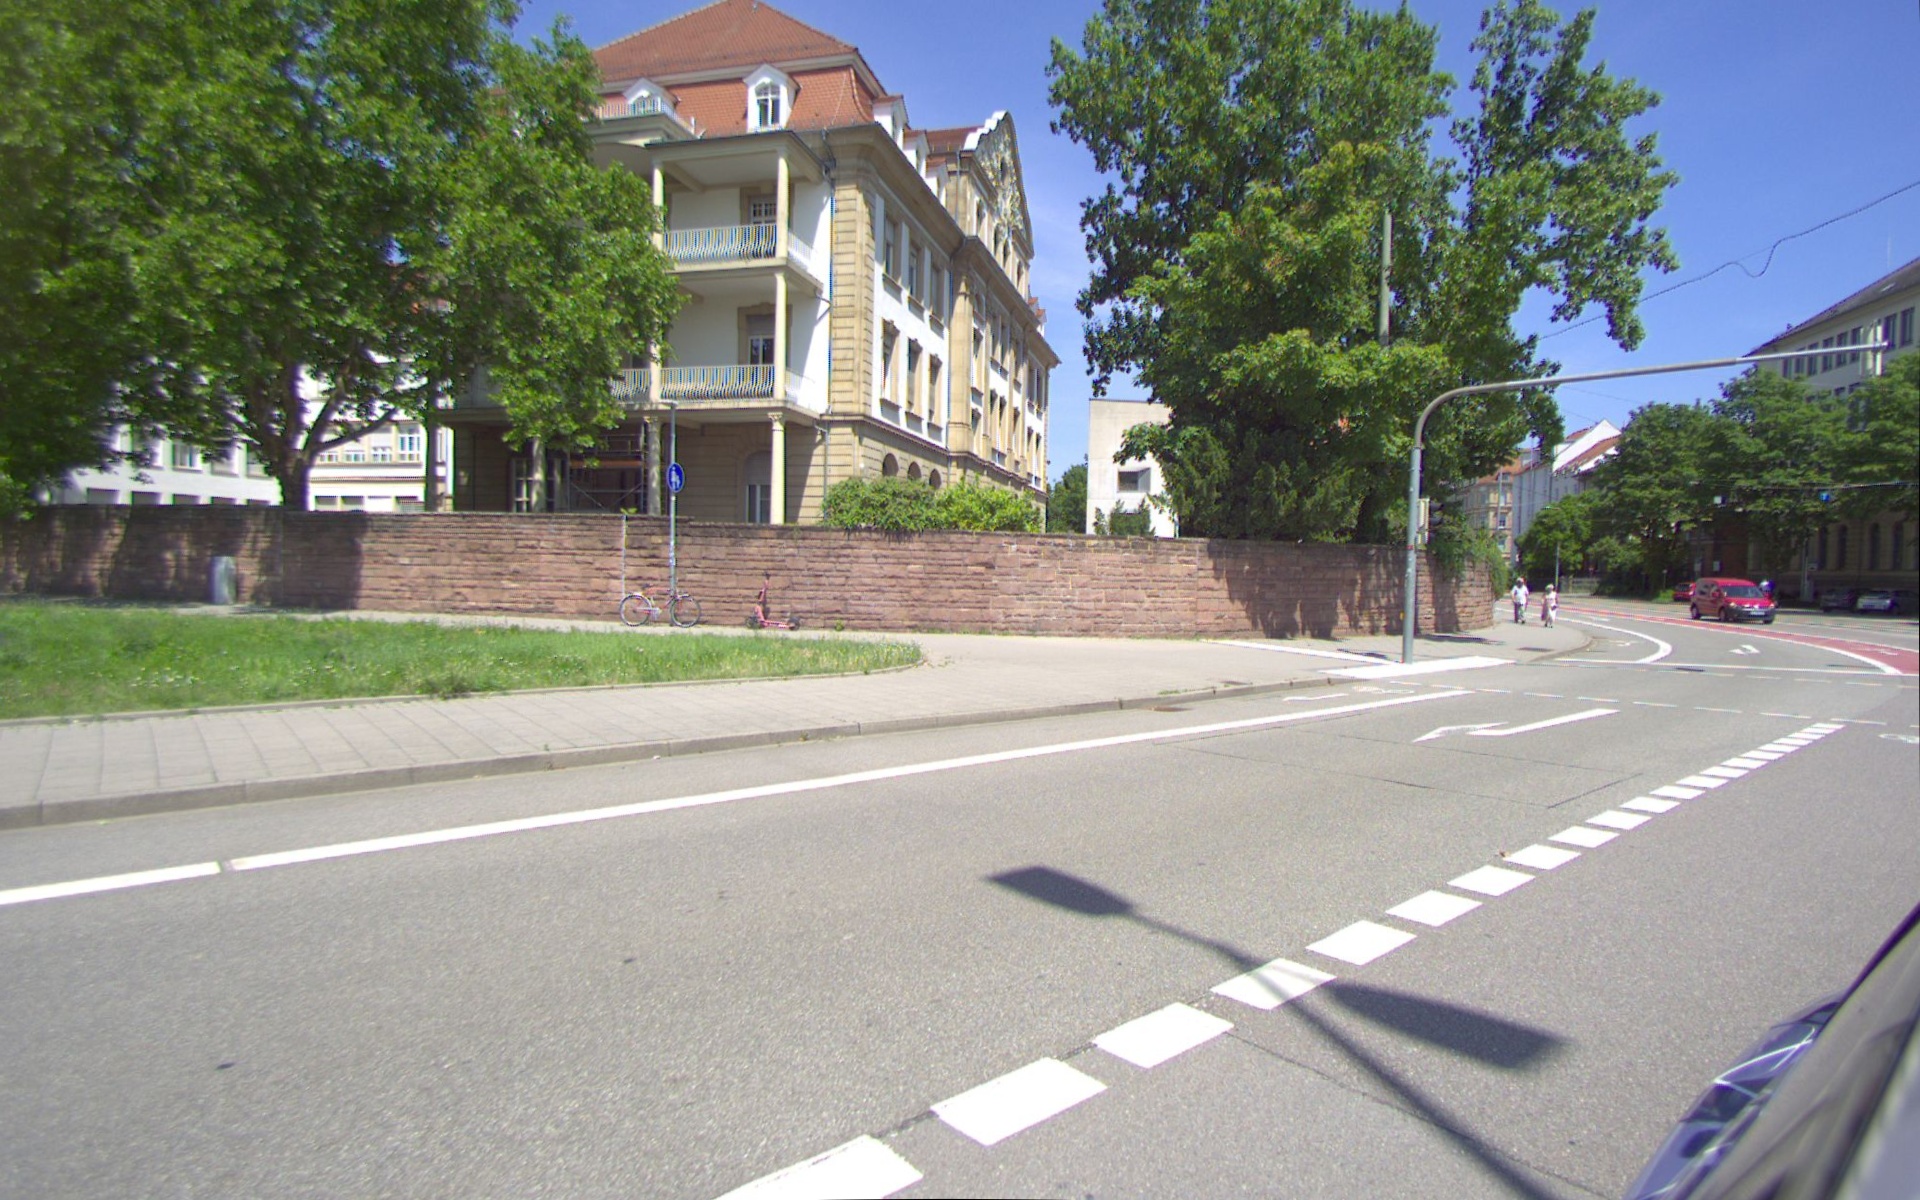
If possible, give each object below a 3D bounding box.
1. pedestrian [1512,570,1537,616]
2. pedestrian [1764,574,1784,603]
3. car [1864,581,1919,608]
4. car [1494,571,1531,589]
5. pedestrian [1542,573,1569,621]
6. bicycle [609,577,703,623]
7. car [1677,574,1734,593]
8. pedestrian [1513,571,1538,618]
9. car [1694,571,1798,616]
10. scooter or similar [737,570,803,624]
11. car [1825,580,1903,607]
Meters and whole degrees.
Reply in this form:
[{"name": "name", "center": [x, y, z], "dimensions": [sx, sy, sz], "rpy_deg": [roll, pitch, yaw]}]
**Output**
[{"name": "pedestrian", "center": [21.768, -0.265, 39.031], "dimensions": [0.596, 1.733, 0.555], "rpy_deg": [4, 1, 16]}, {"name": "pedestrian", "center": [48.495, -0.689, 60.304], "dimensions": [0.715, 1.691, 0.640], "rpy_deg": [2, 2, 20]}, {"name": "car", "center": [51.458, -0.308, 54.894], "dimensions": [3.484, 1.438, 1.572], "rpy_deg": [0, 0, -1]}, {"name": "car", "center": [45.531, -1.696, 83.530], "dimensions": [1.809, 1.409, 4.257], "rpy_deg": [2, 2, 17]}, {"name": "pedestrian", "center": [20.908, -0.103, 35.522], "dimensions": [0.597, 1.631, 0.555], "rpy_deg": [4, 2, 18]}, {"name": "bicycle", "center": [-6.312, -0.004, 21.060], "dimensions": [1.743, 0.940, 0.678], "rpy_deg": [0, 0, 5]}, {"name": "car", "center": [56.788, -1.264, 77.115], "dimensions": [3.504, 1.471, 1.619], "rpy_deg": [0, 1, -13]}, {"name": "pedestrian", "center": [20.636, -0.206, 36.925], "dimensions": [0.597, 1.631, 0.555], "rpy_deg": [4, 2, 18]}, {"name": "car", "center": [32.973, -0.293, 42.623], "dimensions": [1.806, 1.788, 4.262], "rpy_deg": [0, 1, 13]}, {"name": "scooter or similar", "center": [-3.977, -0.066, 21.208], "dimensions": [1.323, 1.122, 0.375], "rpy_deg": [0, 0, -2]}, {"name": "car", "center": [51.513, -0.380, 57.674], "dimensions": [3.088, 1.481, 1.573], "rpy_deg": [0, 0, -3]}]
